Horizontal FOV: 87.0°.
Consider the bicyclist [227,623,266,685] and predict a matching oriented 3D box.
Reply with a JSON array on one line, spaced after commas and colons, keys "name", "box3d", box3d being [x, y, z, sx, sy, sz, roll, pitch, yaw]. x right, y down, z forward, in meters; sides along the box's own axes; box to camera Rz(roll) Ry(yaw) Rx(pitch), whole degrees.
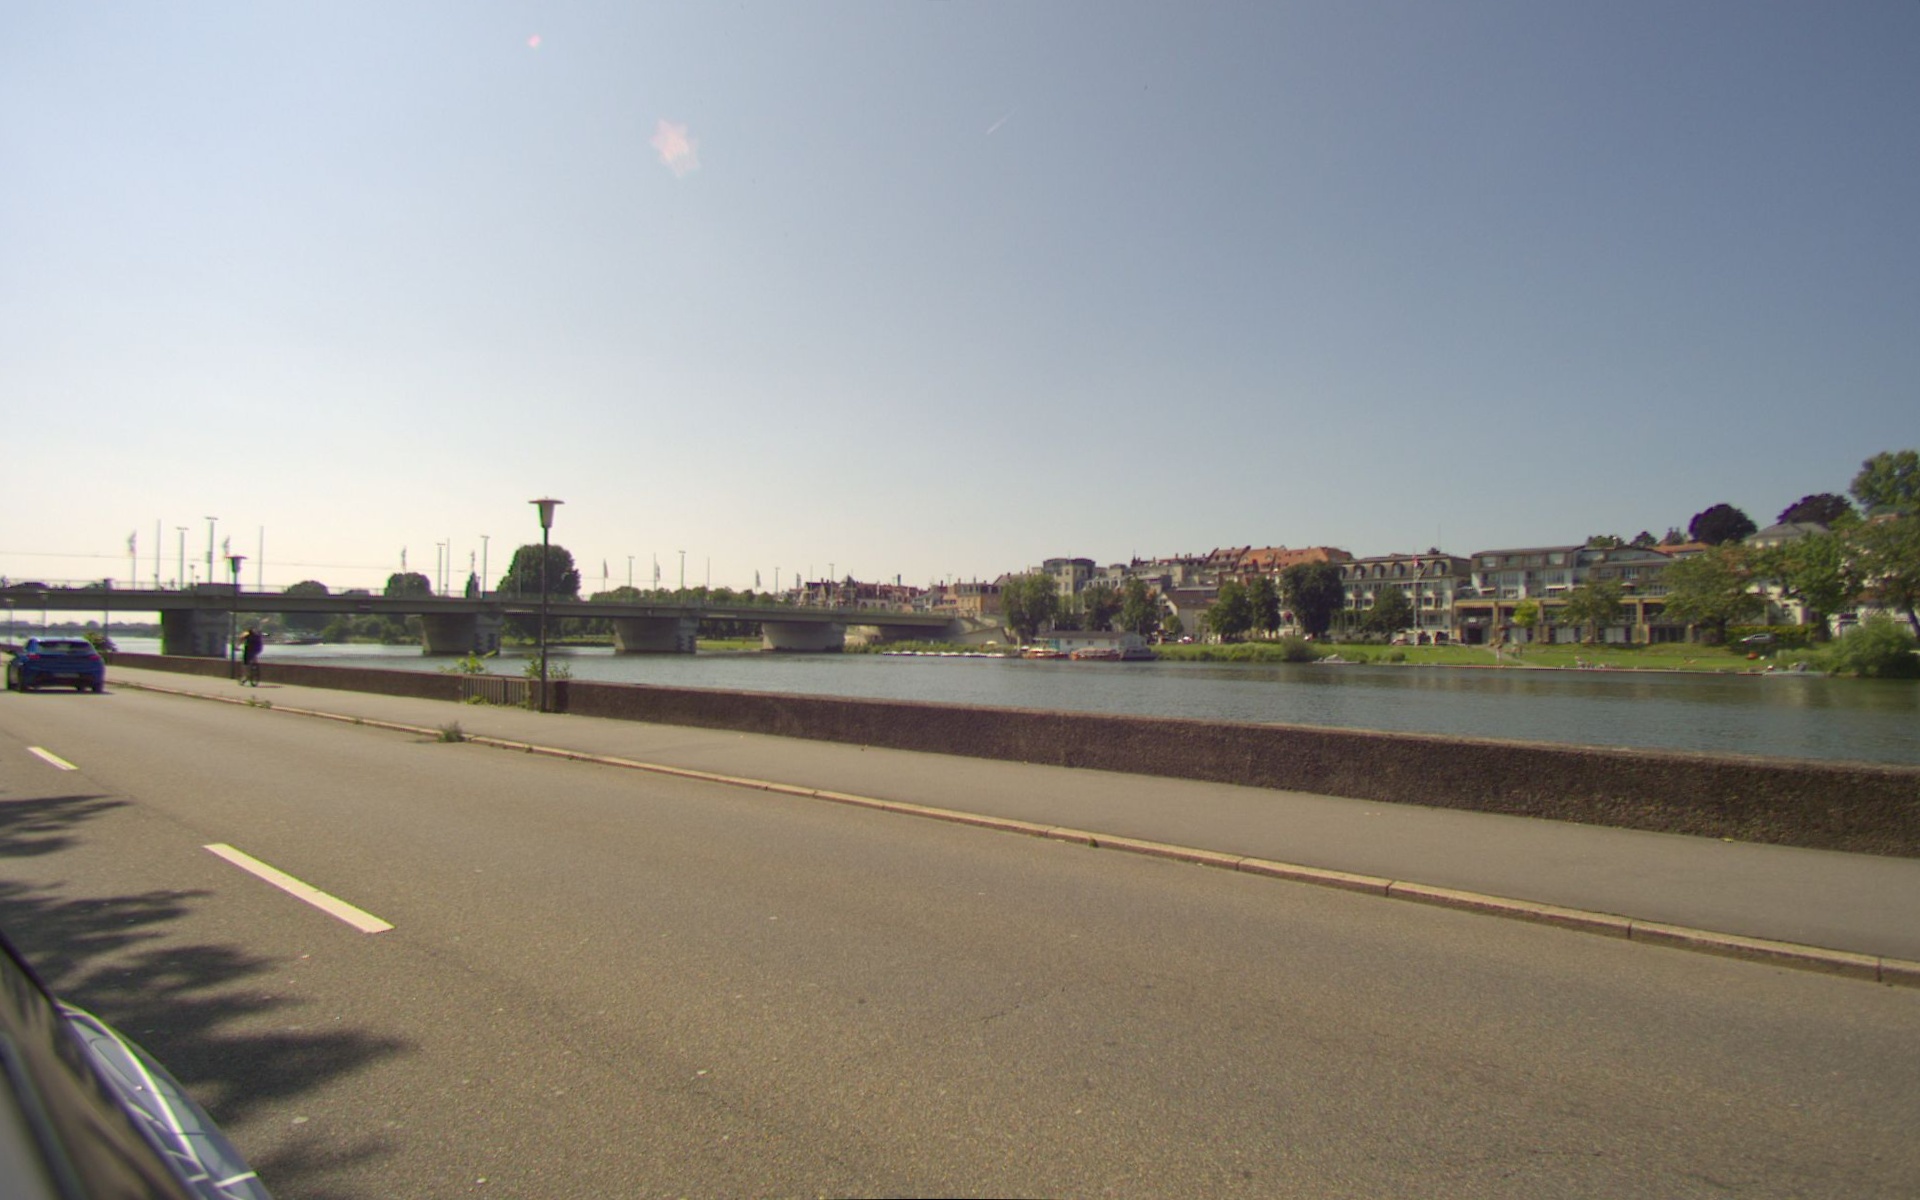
[{"name": "bicyclist", "box3d": [-20.232, 1.514, 28.691, 0.974, 1.715, 0.654, -2, -3, 41]}]

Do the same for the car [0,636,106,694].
[{"name": "car", "box3d": [-24.436, 1.734, 27.151, 3.899, 1.452, 1.655, -2, -6, 41]}]

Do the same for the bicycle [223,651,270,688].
[{"name": "bicycle", "box3d": [-20.207, 1.960, 28.659, 1.943, 0.990, 0.645, -2, -3, 41]}]
